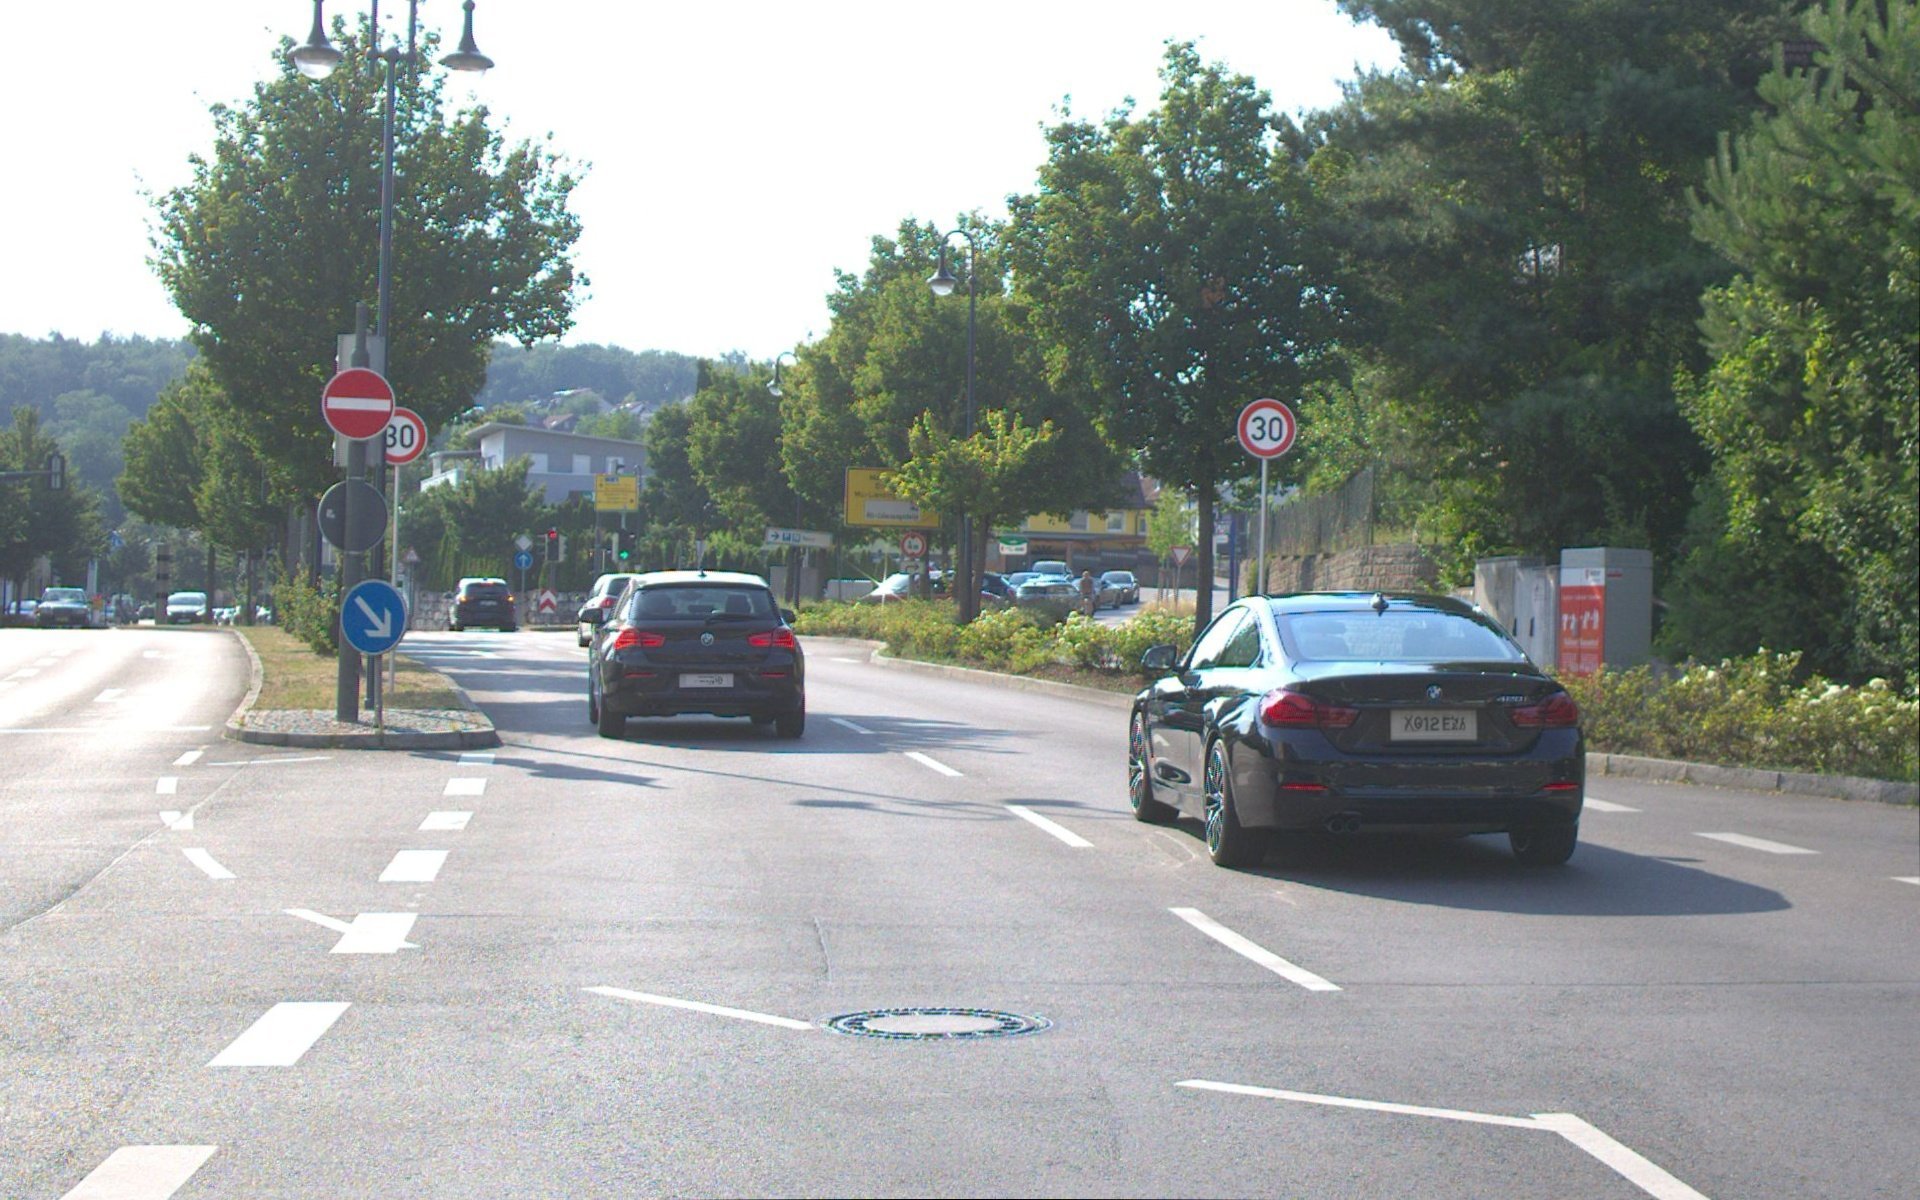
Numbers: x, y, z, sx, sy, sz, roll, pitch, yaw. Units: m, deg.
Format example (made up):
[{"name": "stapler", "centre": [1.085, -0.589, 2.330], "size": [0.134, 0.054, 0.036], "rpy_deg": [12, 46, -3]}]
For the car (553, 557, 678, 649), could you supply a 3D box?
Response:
[{"name": "car", "centre": [-6.861, 0.041, 68.108], "size": [1.924, 1.763, 4.455], "rpy_deg": [0, 0, -13]}]

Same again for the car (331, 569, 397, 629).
[{"name": "car", "centre": [-17.824, -0.050, 102.717], "size": [1.755, 1.763, 3.972], "rpy_deg": [0, 0, -13]}]

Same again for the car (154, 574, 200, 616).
[{"name": "car", "centre": [-32.314, -0.210, 141.972], "size": [1.729, 1.673, 4.001], "rpy_deg": [0, 0, -11]}]

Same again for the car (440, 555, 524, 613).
[{"name": "car", "centre": [-14.820, -0.510, 106.374], "size": [2.216, 1.763, 4.455], "rpy_deg": [0, 0, -13]}]

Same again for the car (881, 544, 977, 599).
[{"name": "car", "centre": [-1.202, -1.148, 137.913], "size": [2.142, 2.123, 5.119], "rpy_deg": [1, 1, 21]}]

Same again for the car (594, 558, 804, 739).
[{"name": "car", "centre": [-2.379, 0.382, 30.850], "size": [1.720, 1.485, 4.354], "rpy_deg": [1, 0, -5]}]

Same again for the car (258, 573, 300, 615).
[{"name": "car", "centre": [-32.917, -0.295, 166.318], "size": [1.772, 2.007, 4.001], "rpy_deg": [0, 1, -8]}]

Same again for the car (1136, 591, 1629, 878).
[{"name": "car", "centre": [2.135, 0.638, 18.618], "size": [1.920, 1.359, 4.353], "rpy_deg": [0, 0, -3]}]

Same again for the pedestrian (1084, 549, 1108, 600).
[{"name": "pedestrian", "centre": [4.527, -0.841, 114.585], "size": [0.695, 1.697, 0.950], "rpy_deg": [0, 0, -4]}]

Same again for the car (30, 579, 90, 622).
[{"name": "car", "centre": [-29.737, 0.009, 113.672], "size": [1.755, 1.356, 4.486], "rpy_deg": [0, 1, -13]}]
